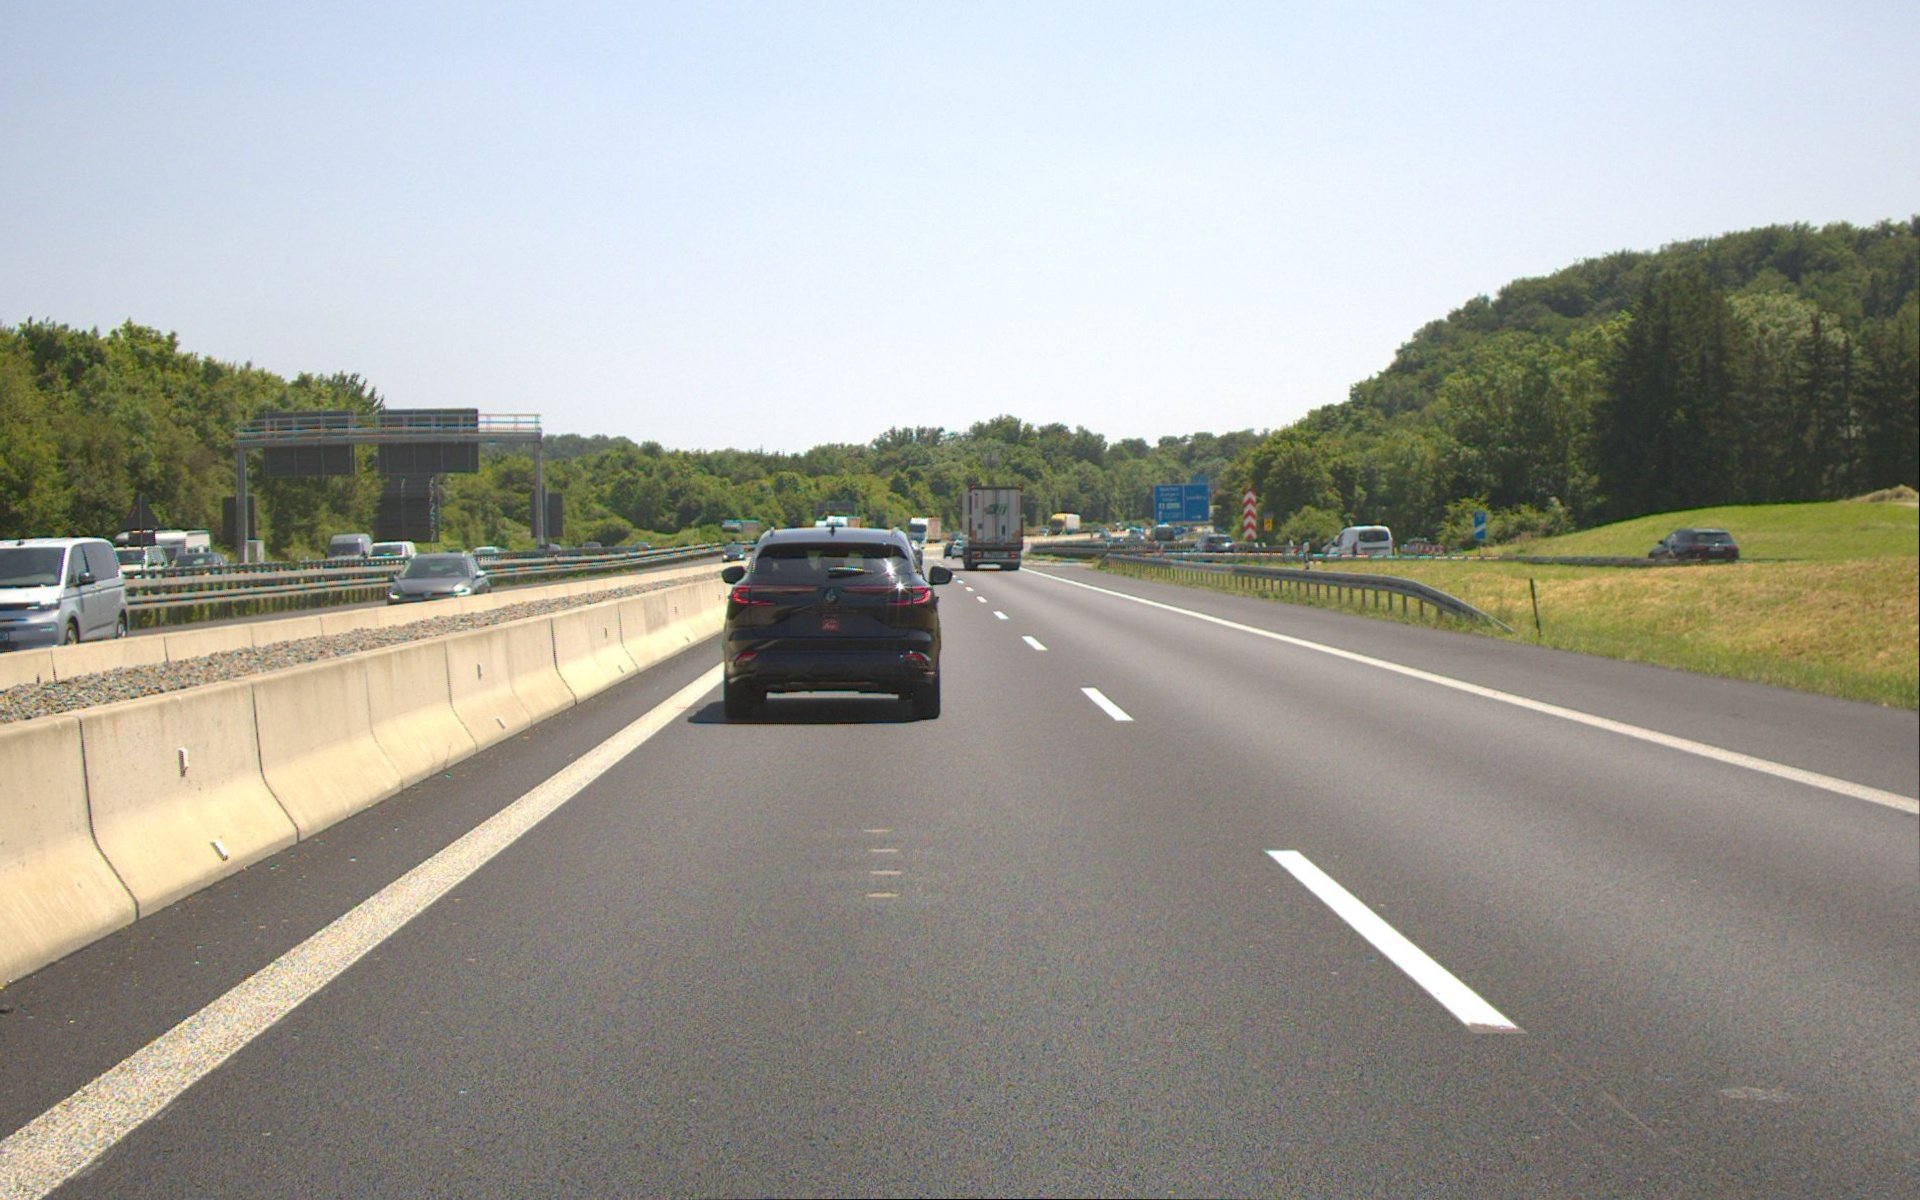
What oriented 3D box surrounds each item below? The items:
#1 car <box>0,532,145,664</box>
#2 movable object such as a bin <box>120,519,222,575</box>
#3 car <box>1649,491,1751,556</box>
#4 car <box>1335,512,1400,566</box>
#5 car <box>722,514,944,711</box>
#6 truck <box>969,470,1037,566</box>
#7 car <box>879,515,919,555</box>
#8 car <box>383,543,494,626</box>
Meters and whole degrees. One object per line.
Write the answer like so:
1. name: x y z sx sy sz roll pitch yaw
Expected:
1. car: -13.848 -0.058 51.536 1.993 1.836 5.085 -3 1 0
2. movable object such as a bin: -29.902 -1.990 130.494 2.507 2.007 6.781 1 1 -2
3. car: 24.280 -2.495 112.926 1.993 2.007 4.001 -2 1 -7
4. car: 16.162 -2.425 136.487 1.993 2.007 4.000 -2 1 0
5. car: -1.143 0.080 29.882 1.779 1.572 4.001 1 1 -3
6. truck: 2.128 -3.985 168.459 3.032 4.403 12.019 -2 1 1
7. car: -3.420 -3.641 192.976 2.138 2.209 5.088 1 1 0
8. car: -10.718 -0.336 70.880 1.794 1.590 4.308 -1 2 -2
